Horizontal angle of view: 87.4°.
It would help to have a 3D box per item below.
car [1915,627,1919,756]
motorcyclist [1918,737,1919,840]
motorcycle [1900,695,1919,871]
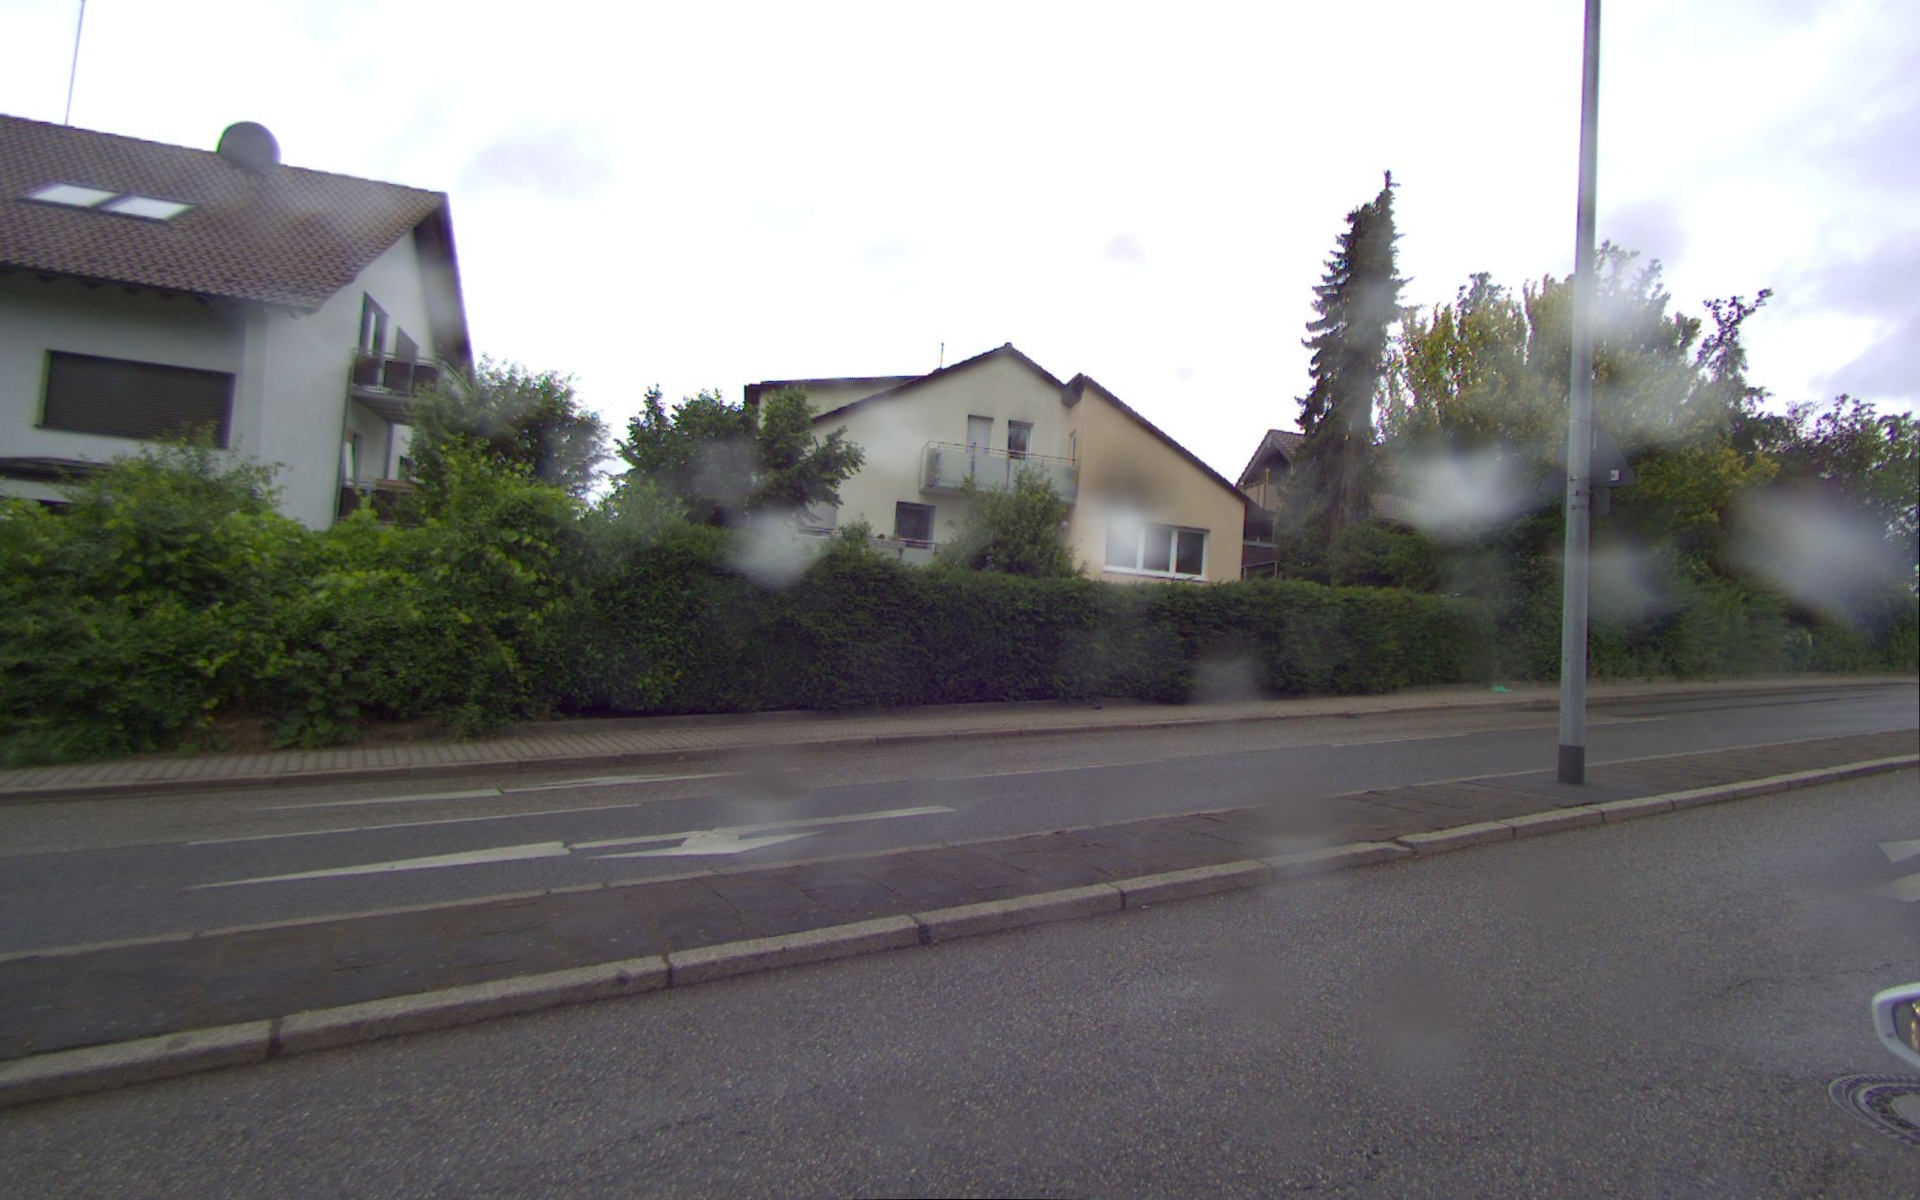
[{"bbox_3d":[10.984,1.048,9.386,4.280,1.547,1.983,2,-4,-32],"label":"car"},{"bbox_3d":[6.656,0.725,6.305,0.666,1.664,0.761,2,-1,-30],"label":"motorcyclist"},{"bbox_3d":[6.775,1.170,6.392,1.727,1.067,0.687,3,-1,-30],"label":"motorcycle"}]
